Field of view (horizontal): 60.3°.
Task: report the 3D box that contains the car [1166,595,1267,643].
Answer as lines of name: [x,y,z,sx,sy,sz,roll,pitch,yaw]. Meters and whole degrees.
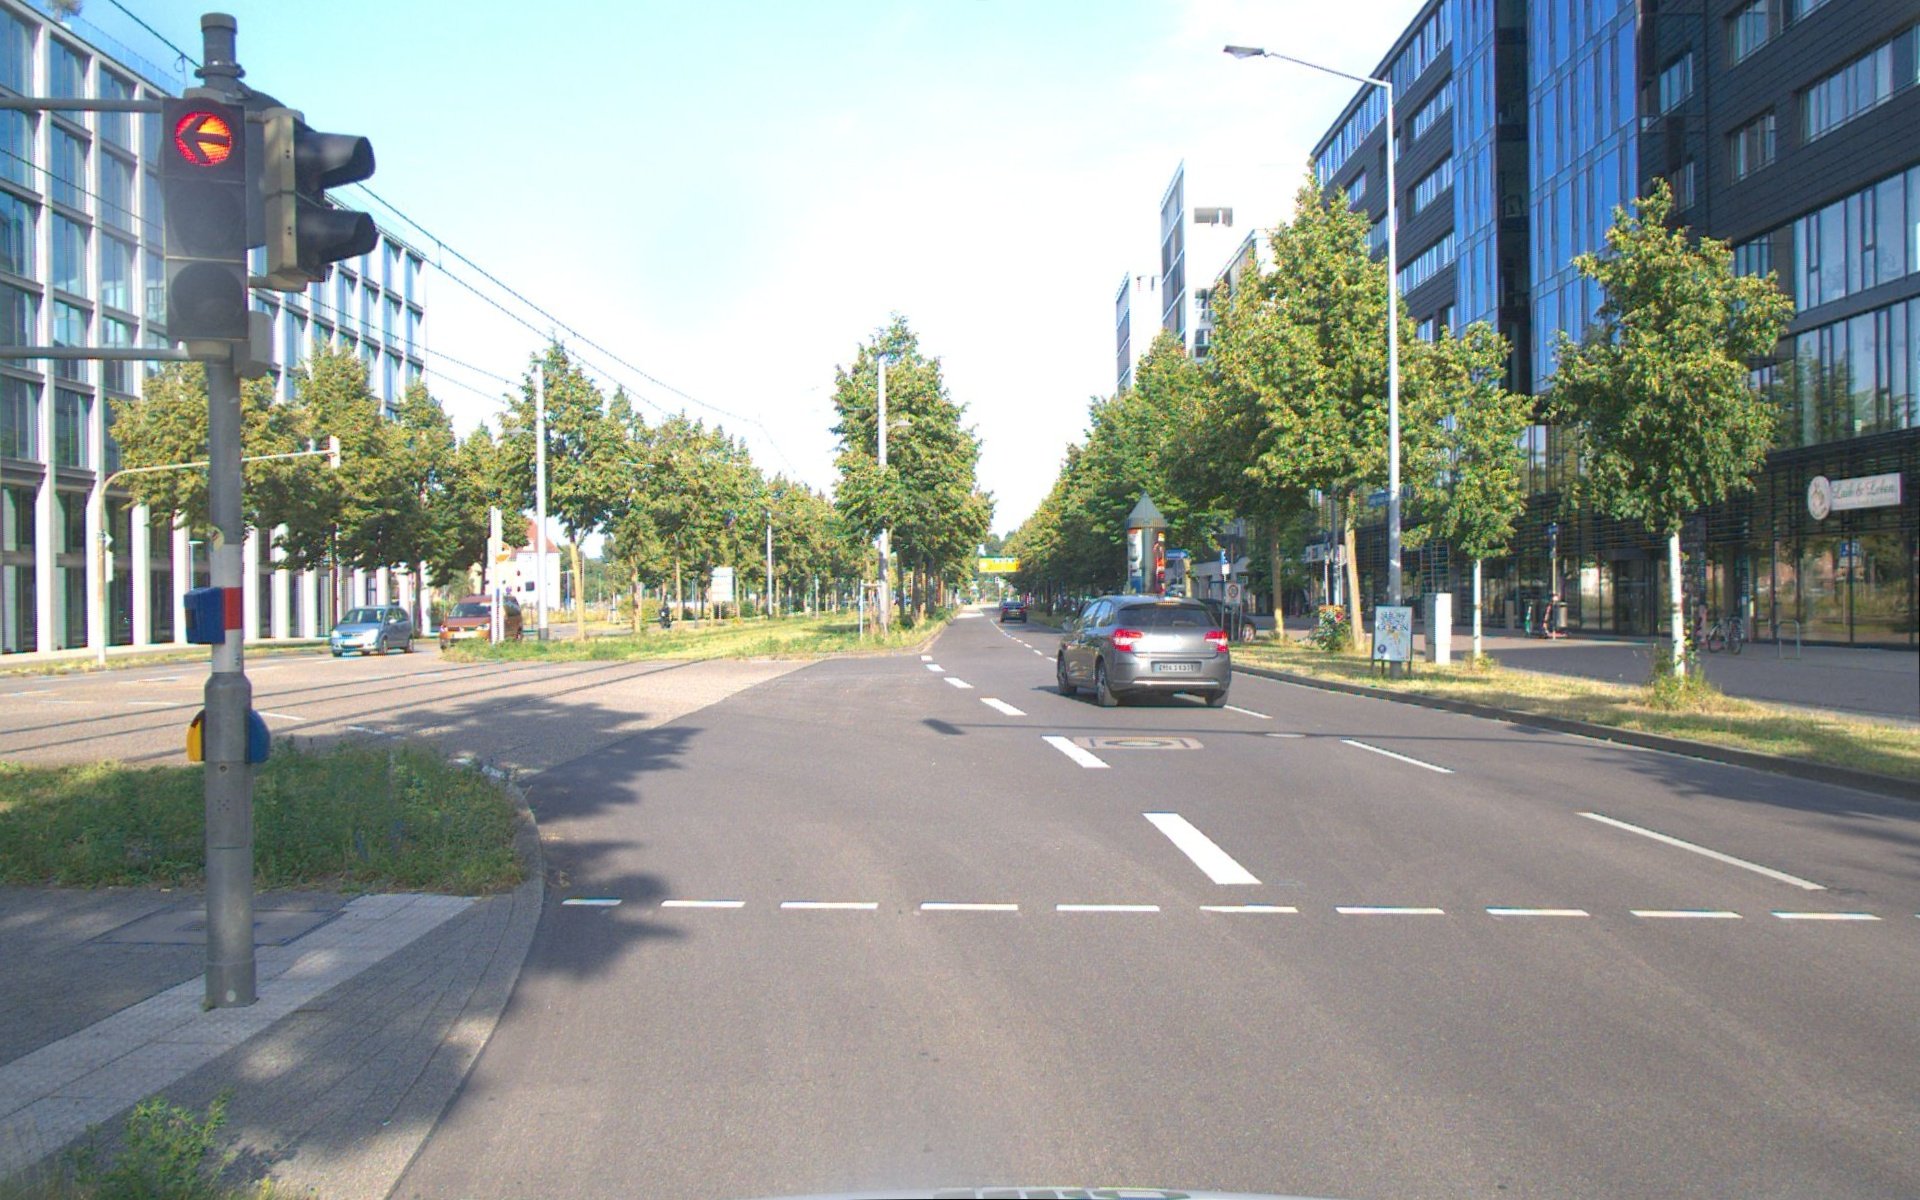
car: [8.235,0.615,52.813,1.742,1.449,3.950,1,-1,33]

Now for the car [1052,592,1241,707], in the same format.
car: [2.506,0.645,23.163,1.663,1.449,4.031,1,0,-8]

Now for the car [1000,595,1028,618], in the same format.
car: [3.724,0.481,115.281,1.821,1.551,3.785,1,0,0]

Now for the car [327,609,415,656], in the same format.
car: [-19.144,1.036,53.899,1.606,1.468,3.953,1,0,-3]

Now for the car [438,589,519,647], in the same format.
car: [-15.748,0.576,54.261,1.650,1.806,3.880,1,0,-3]

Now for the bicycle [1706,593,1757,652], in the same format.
bicycle: [18.622,0.543,39.963,0.365,1.370,1.894,1,-1,1]

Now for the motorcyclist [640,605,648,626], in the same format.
motorcyclist: [-24.344,1.173,127.362,0.476,1.592,0.455,1,-1,-1]

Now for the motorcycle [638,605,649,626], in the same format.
motorcycle: [-24.346,1.182,127.256,0.464,1.557,1.992,1,0,-1]

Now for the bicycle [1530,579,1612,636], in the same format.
bicycle: [19.493,0.226,52.792,2.383,1.776,0.554,1,-1,10]

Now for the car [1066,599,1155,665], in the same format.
car: [3.580,0.732,40.017,1.529,1.449,3.904,1,0,-4]

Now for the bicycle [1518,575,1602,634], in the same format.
bicycle: [19.515,0.143,53.840,2.510,1.890,0.570,1,-1,10]
